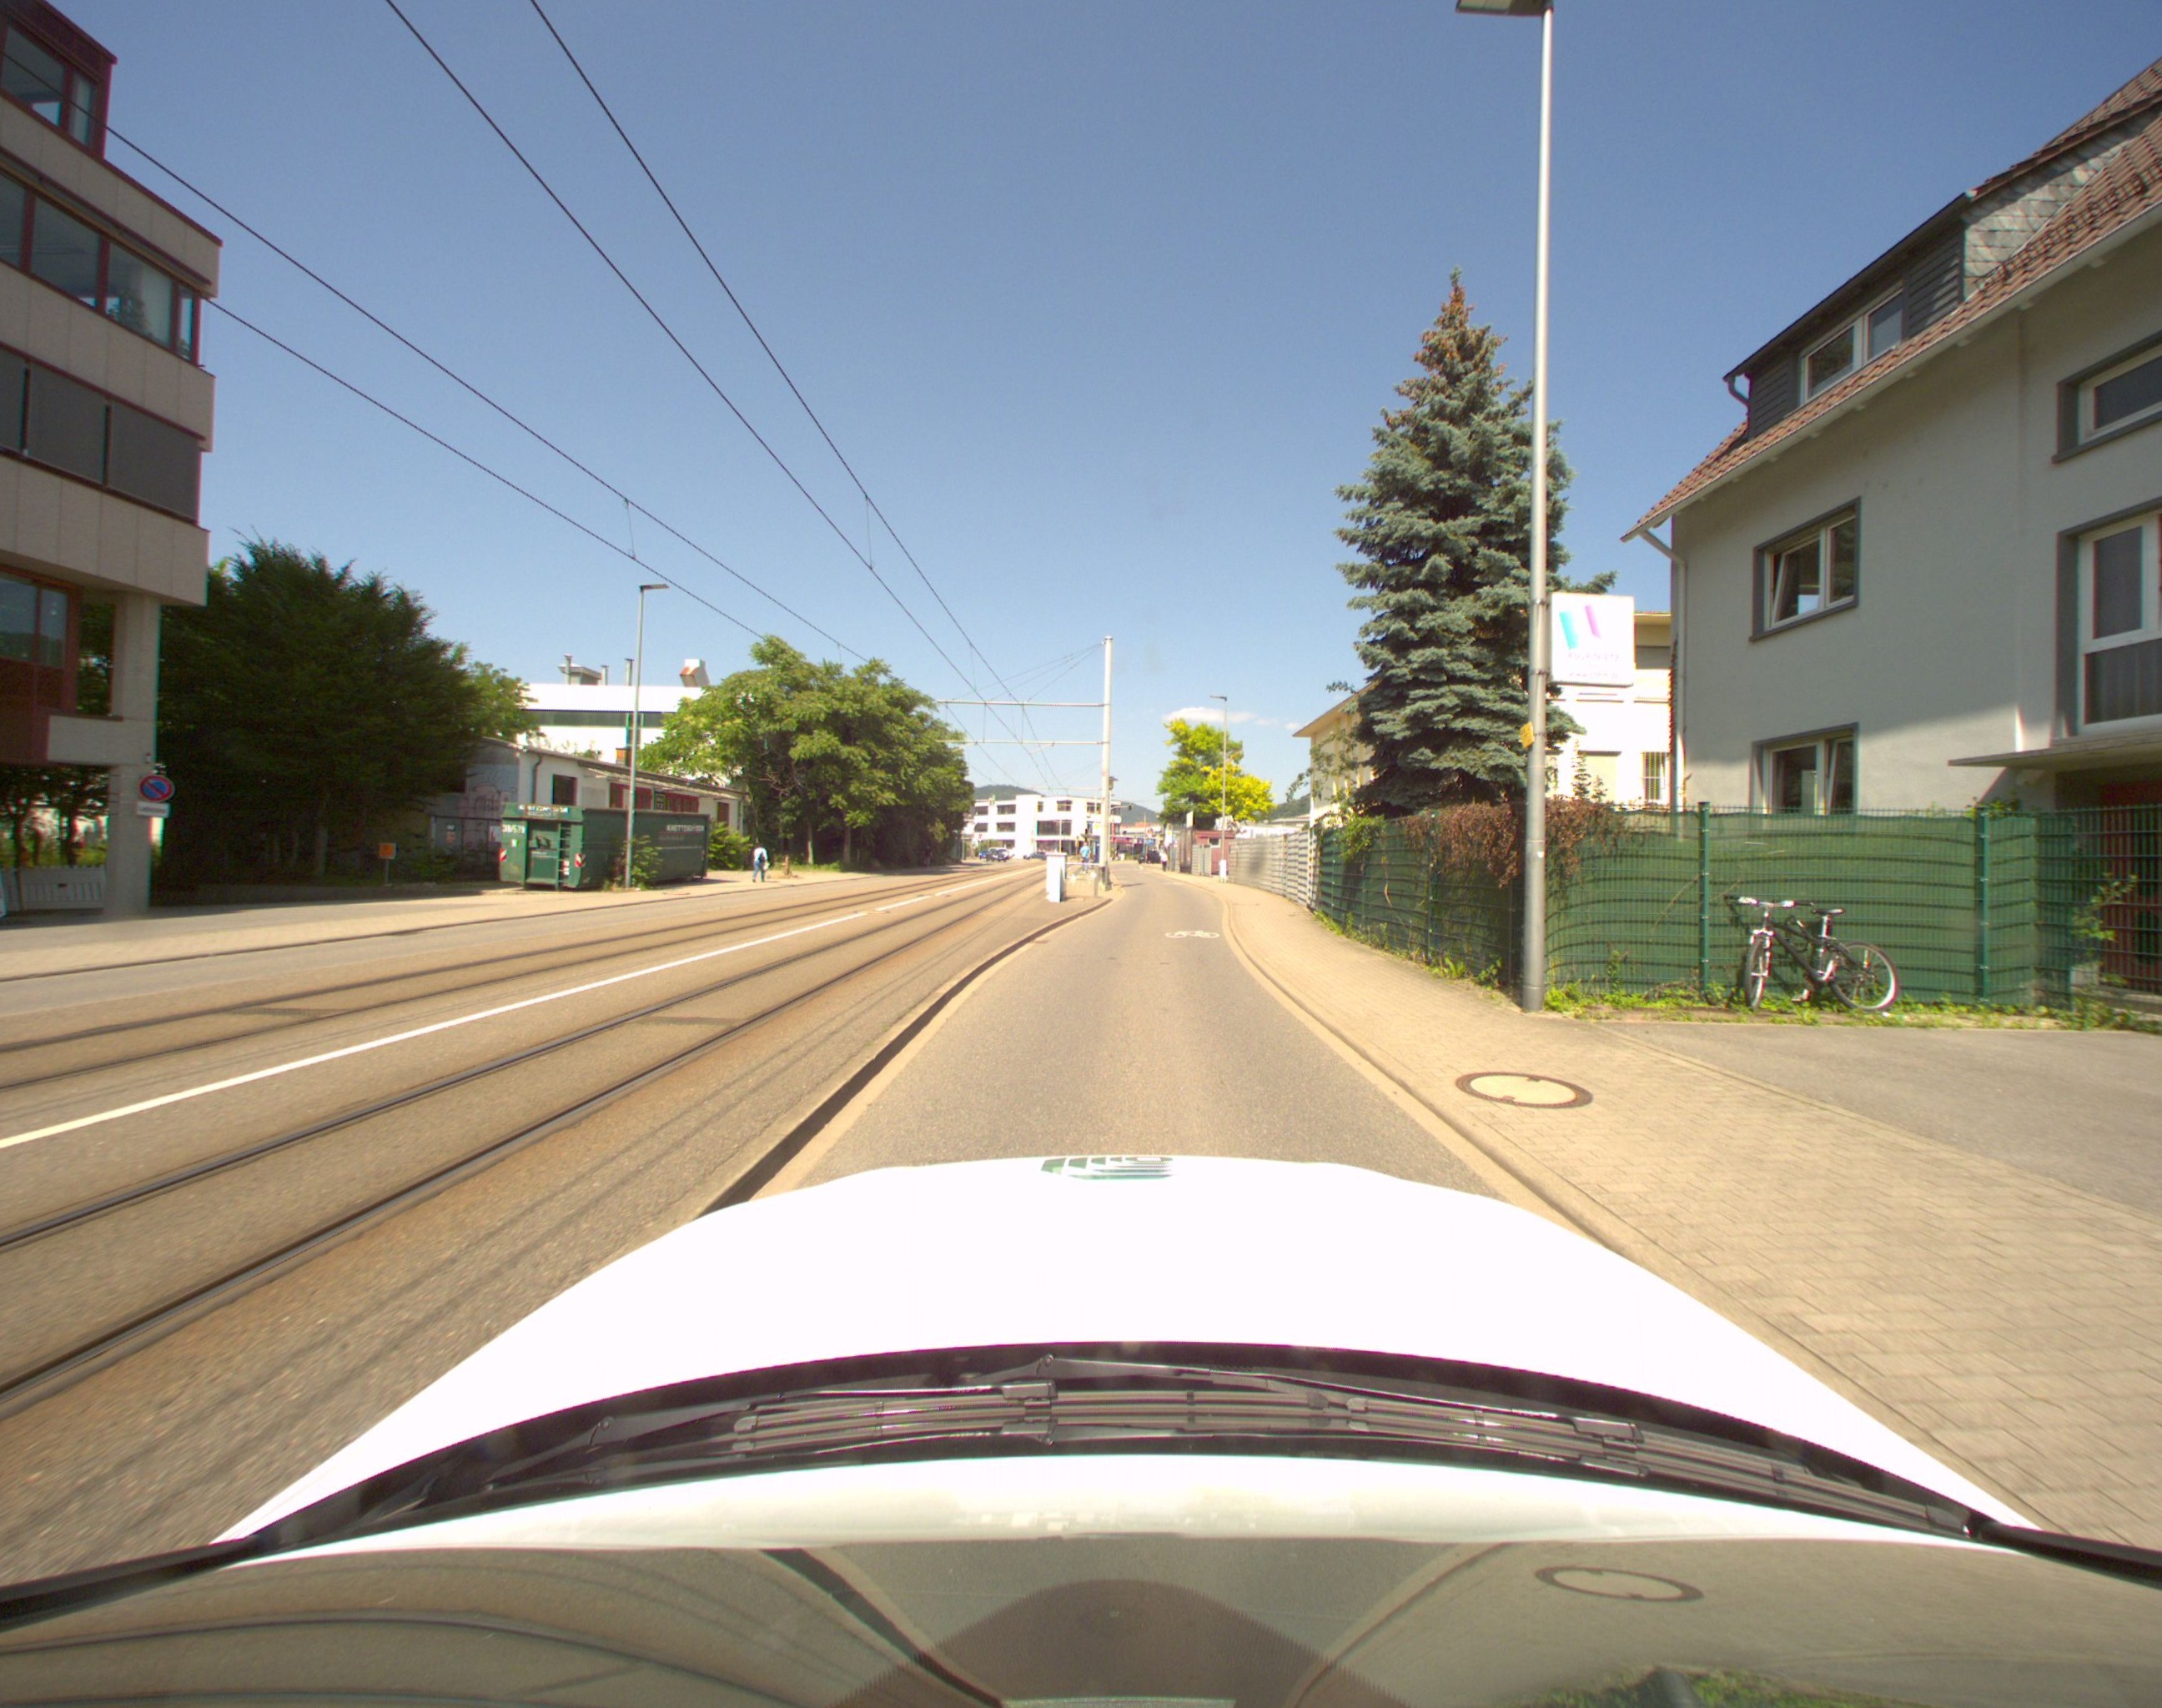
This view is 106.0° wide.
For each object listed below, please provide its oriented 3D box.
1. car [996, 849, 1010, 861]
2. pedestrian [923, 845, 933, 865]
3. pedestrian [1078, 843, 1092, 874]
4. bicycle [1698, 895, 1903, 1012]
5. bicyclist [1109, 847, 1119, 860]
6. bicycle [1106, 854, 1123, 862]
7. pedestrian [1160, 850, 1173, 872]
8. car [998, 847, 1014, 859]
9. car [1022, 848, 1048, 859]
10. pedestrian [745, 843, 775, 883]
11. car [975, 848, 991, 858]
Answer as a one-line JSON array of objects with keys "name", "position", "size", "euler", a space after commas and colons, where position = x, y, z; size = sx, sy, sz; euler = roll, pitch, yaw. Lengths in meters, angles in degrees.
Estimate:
[{"name": "car", "position": [-11.155, 0.090, 116.512], "size": [1.750, 1.647, 3.761], "euler": [0, 0, 0]}, {"name": "pedestrian", "position": [-11.451, 0.064, 60.975], "size": [0.582, 1.537, 0.657], "euler": [1, 0, 1]}, {"name": "pedestrian", "position": [0.242, 0.239, 46.626], "size": [0.741, 1.740, 0.727], "euler": [1, 0, 1]}, {"name": "bicycle", "position": [6.396, 0.872, 7.271], "size": [1.466, 0.990, 0.388], "euler": [1, -3, 0]}, {"name": "bicyclist", "position": [5.325, -0.045, 131.601], "size": [1.292, 1.904, 1.088], "euler": [2, 3, -8]}, {"name": "bicycle", "position": [5.439, 0.611, 131.671], "size": [2.443, 1.186, 1.114], "euler": [2, 3, -8]}, {"name": "pedestrian", "position": [7.190, 0.602, 68.245], "size": [0.937, 1.787, 0.953], "euler": [2, 1, 0]}, {"name": "car", "position": [-9.409, -0.121, 101.993], "size": [1.782, 1.552, 3.995], "euler": [0, 0, -3]}, {"name": "car", "position": [-7.222, -0.101, 128.706], "size": [3.895, 1.680, 1.725], "euler": [1, 0, -11]}, {"name": "pedestrian", "position": [-12.561, 0.334, 31.881], "size": [0.831, 1.537, 0.838], "euler": [1, 0, 1]}, {"name": "car", "position": [-15.351, -0.157, 127.554], "size": [1.761, 1.489, 3.739], "euler": [0, 0, -18]}]
